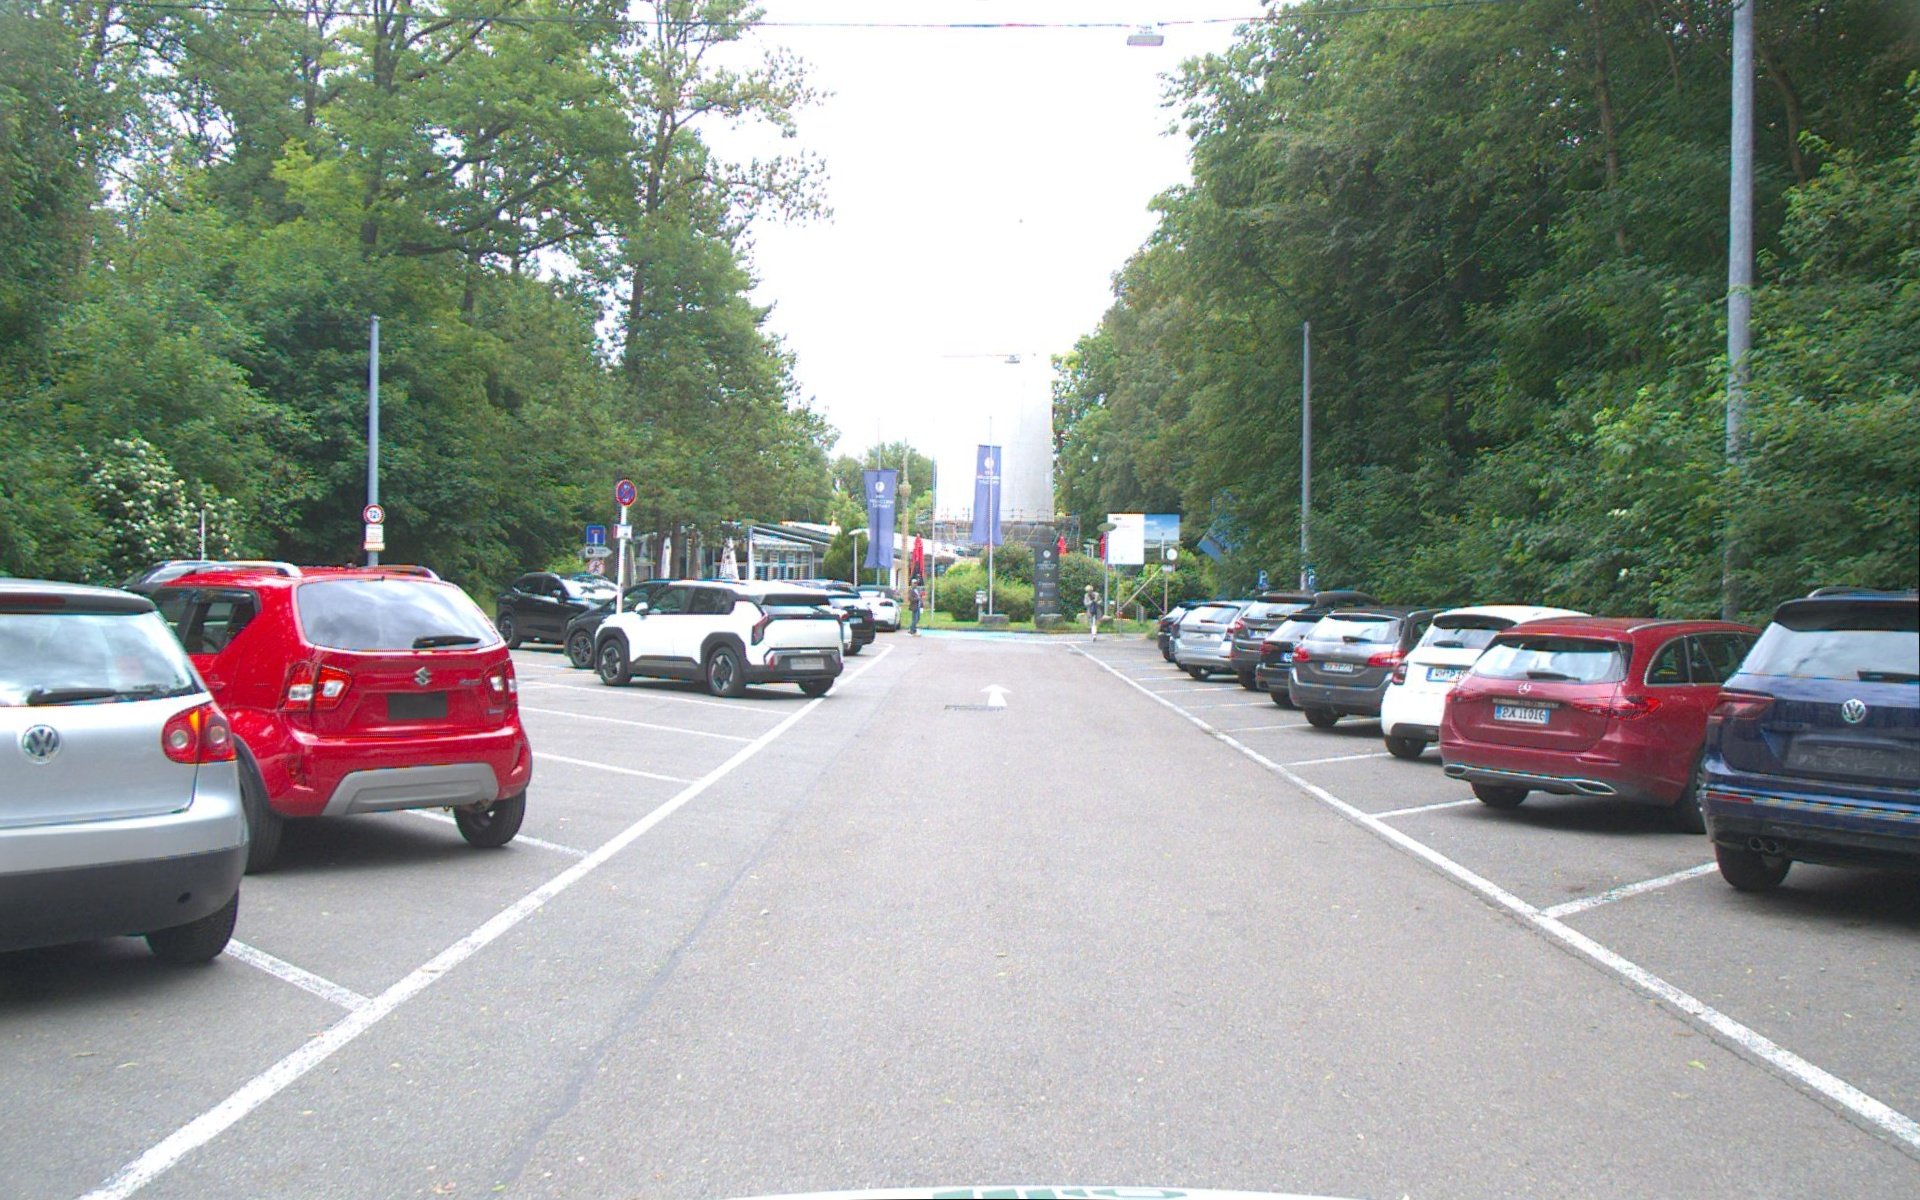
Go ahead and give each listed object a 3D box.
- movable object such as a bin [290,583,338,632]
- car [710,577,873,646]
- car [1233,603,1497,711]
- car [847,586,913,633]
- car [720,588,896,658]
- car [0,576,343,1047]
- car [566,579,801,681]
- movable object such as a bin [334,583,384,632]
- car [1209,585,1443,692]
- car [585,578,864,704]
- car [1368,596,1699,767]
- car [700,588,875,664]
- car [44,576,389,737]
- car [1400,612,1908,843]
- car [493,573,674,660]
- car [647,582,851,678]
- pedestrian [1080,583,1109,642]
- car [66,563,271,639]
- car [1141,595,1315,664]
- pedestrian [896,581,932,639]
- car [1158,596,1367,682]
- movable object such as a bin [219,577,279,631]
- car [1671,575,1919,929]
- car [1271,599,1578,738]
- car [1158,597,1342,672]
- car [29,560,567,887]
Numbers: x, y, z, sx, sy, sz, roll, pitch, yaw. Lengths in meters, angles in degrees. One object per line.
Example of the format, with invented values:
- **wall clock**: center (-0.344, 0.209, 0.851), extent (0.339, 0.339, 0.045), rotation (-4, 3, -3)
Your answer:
- **movable object such as a bin**: center (-17.891, 0.197, 45.791), extent (1.111, 1.337, 1.173), rotation (0, 0, -29)
- **car**: center (-4.341, 0.255, 42.235), extent (4.315, 1.637, 1.816), rotation (1, 1, 45)
- **car**: center (6.011, 0.769, 24.250), extent (1.932, 1.401, 4.234), rotation (1, 1, 43)
- **car**: center (-2.623, 0.290, 55.199), extent (1.854, 1.453, 4.001), rotation (1, 1, 2)
- **car**: center (-3.555, 0.501, 38.251), extent (4.206, 1.468, 1.748), rotation (1, 1, 44)
- **car**: center (-4.349, 0.650, 6.809), extent (3.931, 1.509, 1.864), rotation (1, 0, 44)
- **car**: center (-4.774, 0.460, 28.291), extent (3.925, 1.581, 1.864), rotation (1, 1, 39)
- **movable object such as a bin**: center (-16.841, 0.196, 46.332), extent (1.156, 1.330, 1.301), rotation (0, 0, -29)
- **car**: center (6.329, 0.610, 28.329), extent (4.230, 1.665, 1.934), rotation (0, 1, -44)
- **car**: center (-3.456, 0.516, 23.806), extent (4.118, 1.624, 1.834), rotation (1, 1, 44)
- **car**: center (5.894, 0.741, 16.826), extent (3.552, 1.531, 1.708), rotation (0, 1, -42)
- **car**: center (-3.699, 0.516, 35.060), extent (1.759, 1.468, 3.785), rotation (1, 1, -43)
- **car**: center (-7.925, 0.503, 17.446), extent (4.242, 1.467, 1.857), rotation (1, 1, 43)
- **car**: center (5.444, 0.843, 12.740), extent (4.256, 1.438, 1.900), rotation (1, 0, -40)
- **car**: center (-7.974, 0.311, 34.892), extent (3.932, 1.692, 1.886), rotation (1, 1, 44)
- **car**: center (-4.012, 0.507, 31.102), extent (1.834, 1.614, 3.912), rotation (0, 1, -44)
- **pedestrian**: center (4.064, 0.377, 49.839), extent (0.745, 1.755, 0.898), rotation (1, 0, 12)
- **car**: center (-18.747, 0.025, 39.268), extent (4.039, 1.714, 1.851), rotation (1, 0, -43)
- **car**: center (6.299, 0.657, 38.628), extent (4.172, 1.488, 1.869), rotation (1, 1, -44)
- **pedestrian**: center (-1.412, 0.292, 50.827), extent (0.875, 1.755, 0.765), rotation (1, 0, 15)
- **car**: center (5.753, 0.683, 31.243), extent (3.963, 1.492, 1.809), rotation (0, 1, -40)
- **movable object such as a bin**: center (-19.405, 0.103, 45.181), extent (1.100, 1.450, 1.131), rotation (1, 0, 4)
- **car**: center (5.832, 0.724, 9.291), extent (4.083, 1.646, 1.815), rotation (1, 0, -41)
- **car**: center (5.738, 0.750, 20.166), extent (4.155, 1.483, 1.776), rotation (0, 1, -44)
- **car**: center (6.126, 0.683, 34.728), extent (3.970, 1.447, 1.879), rotation (0, 1, -45)
- **car**: center (-4.104, 0.581, 10.004), extent (3.591, 1.613, 1.676), rotation (1, 1, 43)
